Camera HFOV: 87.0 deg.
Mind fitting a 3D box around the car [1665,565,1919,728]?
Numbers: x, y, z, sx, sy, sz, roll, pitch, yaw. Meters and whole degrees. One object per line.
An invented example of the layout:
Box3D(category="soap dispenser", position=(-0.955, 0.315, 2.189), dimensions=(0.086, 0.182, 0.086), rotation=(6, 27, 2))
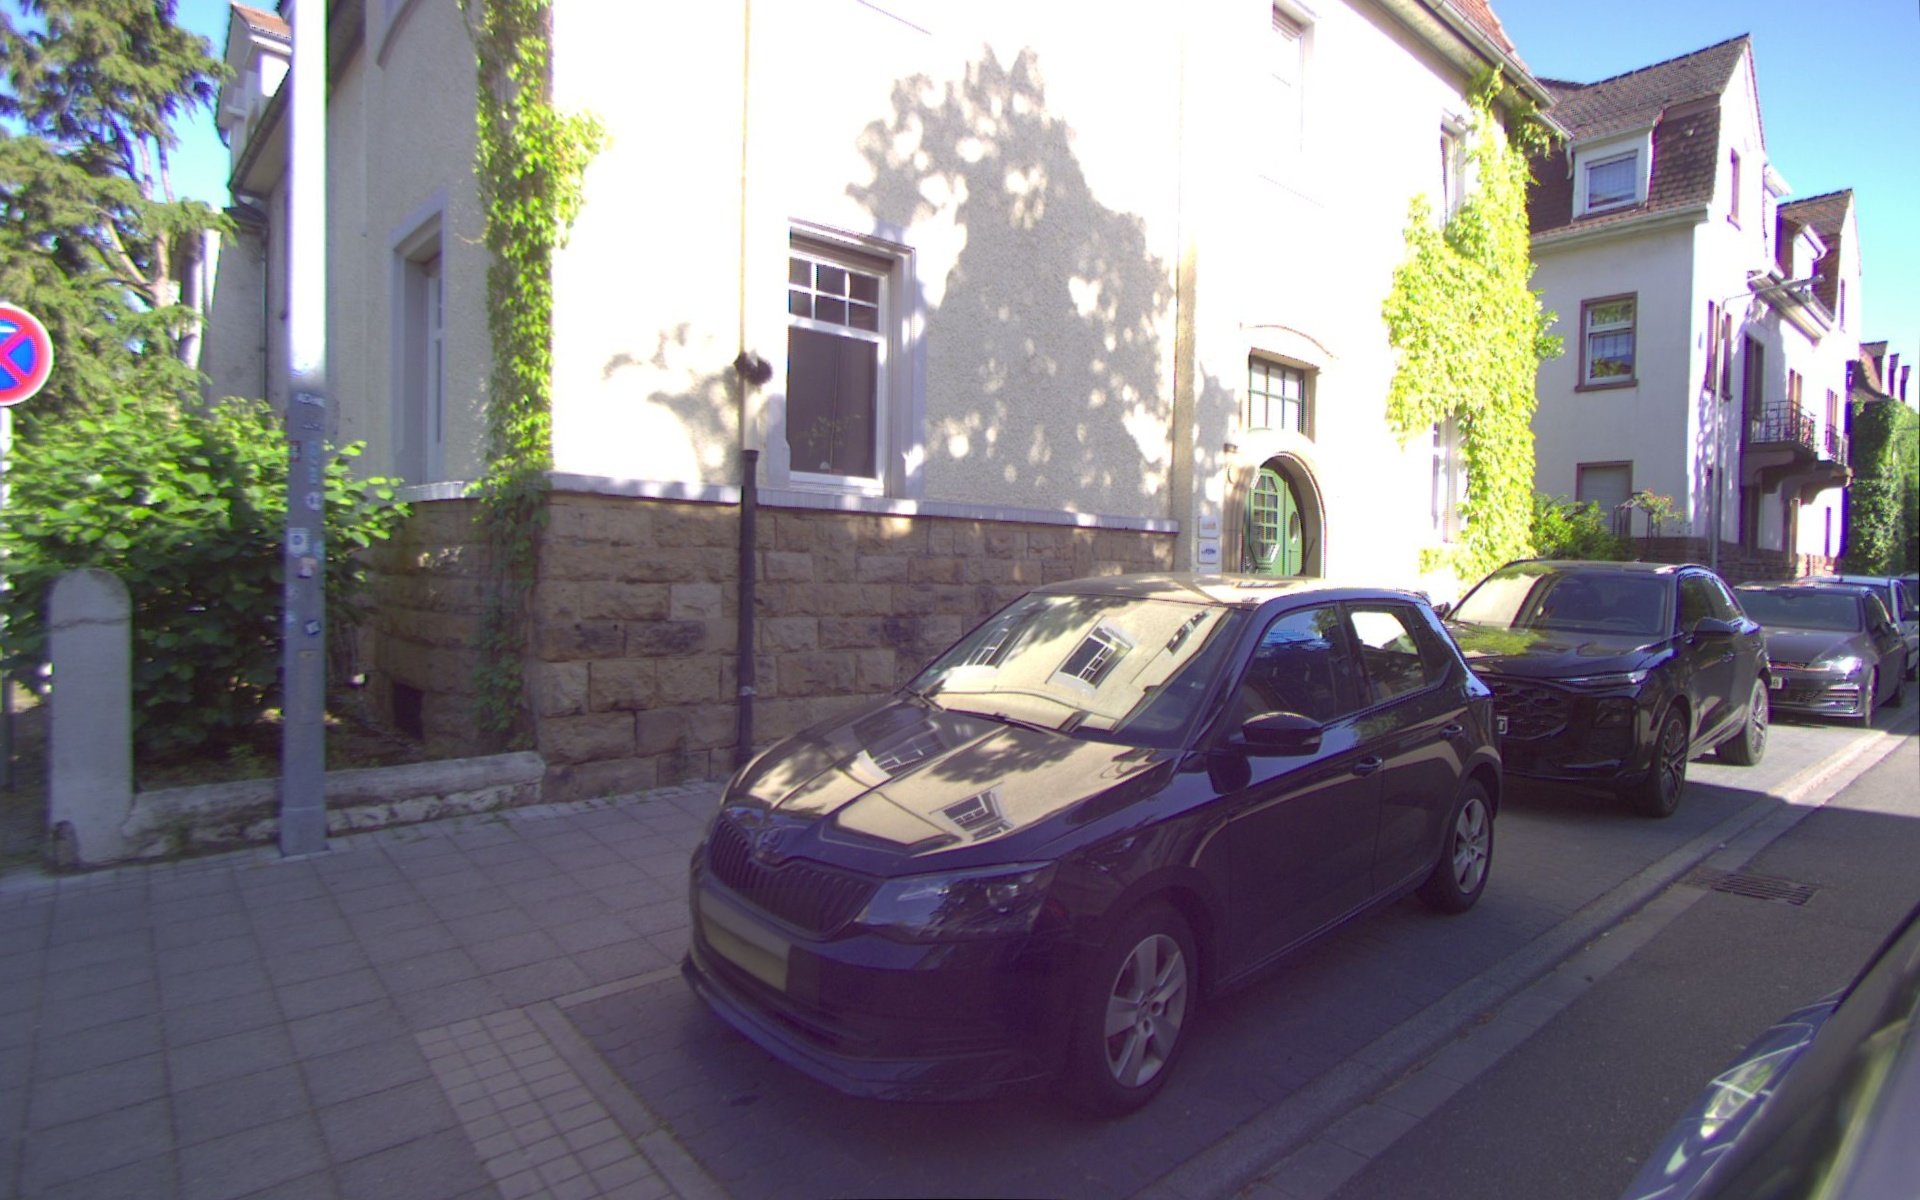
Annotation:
Box3D(category="car", position=(9.714, 0.370, 11.564), dimensions=(4.121, 1.453, 1.713), rotation=(-2, 5, -41))

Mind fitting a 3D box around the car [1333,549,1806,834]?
Box3D(category="car", position=(4.762, 0.413, 7.639), dimensions=(4.291, 1.538, 1.795), rotation=(-2, 4, -41))

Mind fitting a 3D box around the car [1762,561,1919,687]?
Box3D(category="car", position=(13.120, 0.246, 14.772), dimensions=(3.409, 1.568, 1.579), rotation=(-2, 4, -41))

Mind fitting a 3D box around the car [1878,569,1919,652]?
Box3D(category="car", position=(21.747, 0.169, 22.237), dimensions=(4.245, 1.717, 1.781), rotation=(-2, 1, -40))

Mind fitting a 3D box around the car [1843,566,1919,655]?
Box3D(category="car", position=(17.941, 0.150, 19.056), dimensions=(2.820, 1.568, 1.628), rotation=(-2, 2, -41))

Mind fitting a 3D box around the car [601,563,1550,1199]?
Box3D(category="car", position=(0.806, 0.654, 4.076), dimensions=(3.936, 1.538, 1.664), rotation=(-2, 4, -44))
